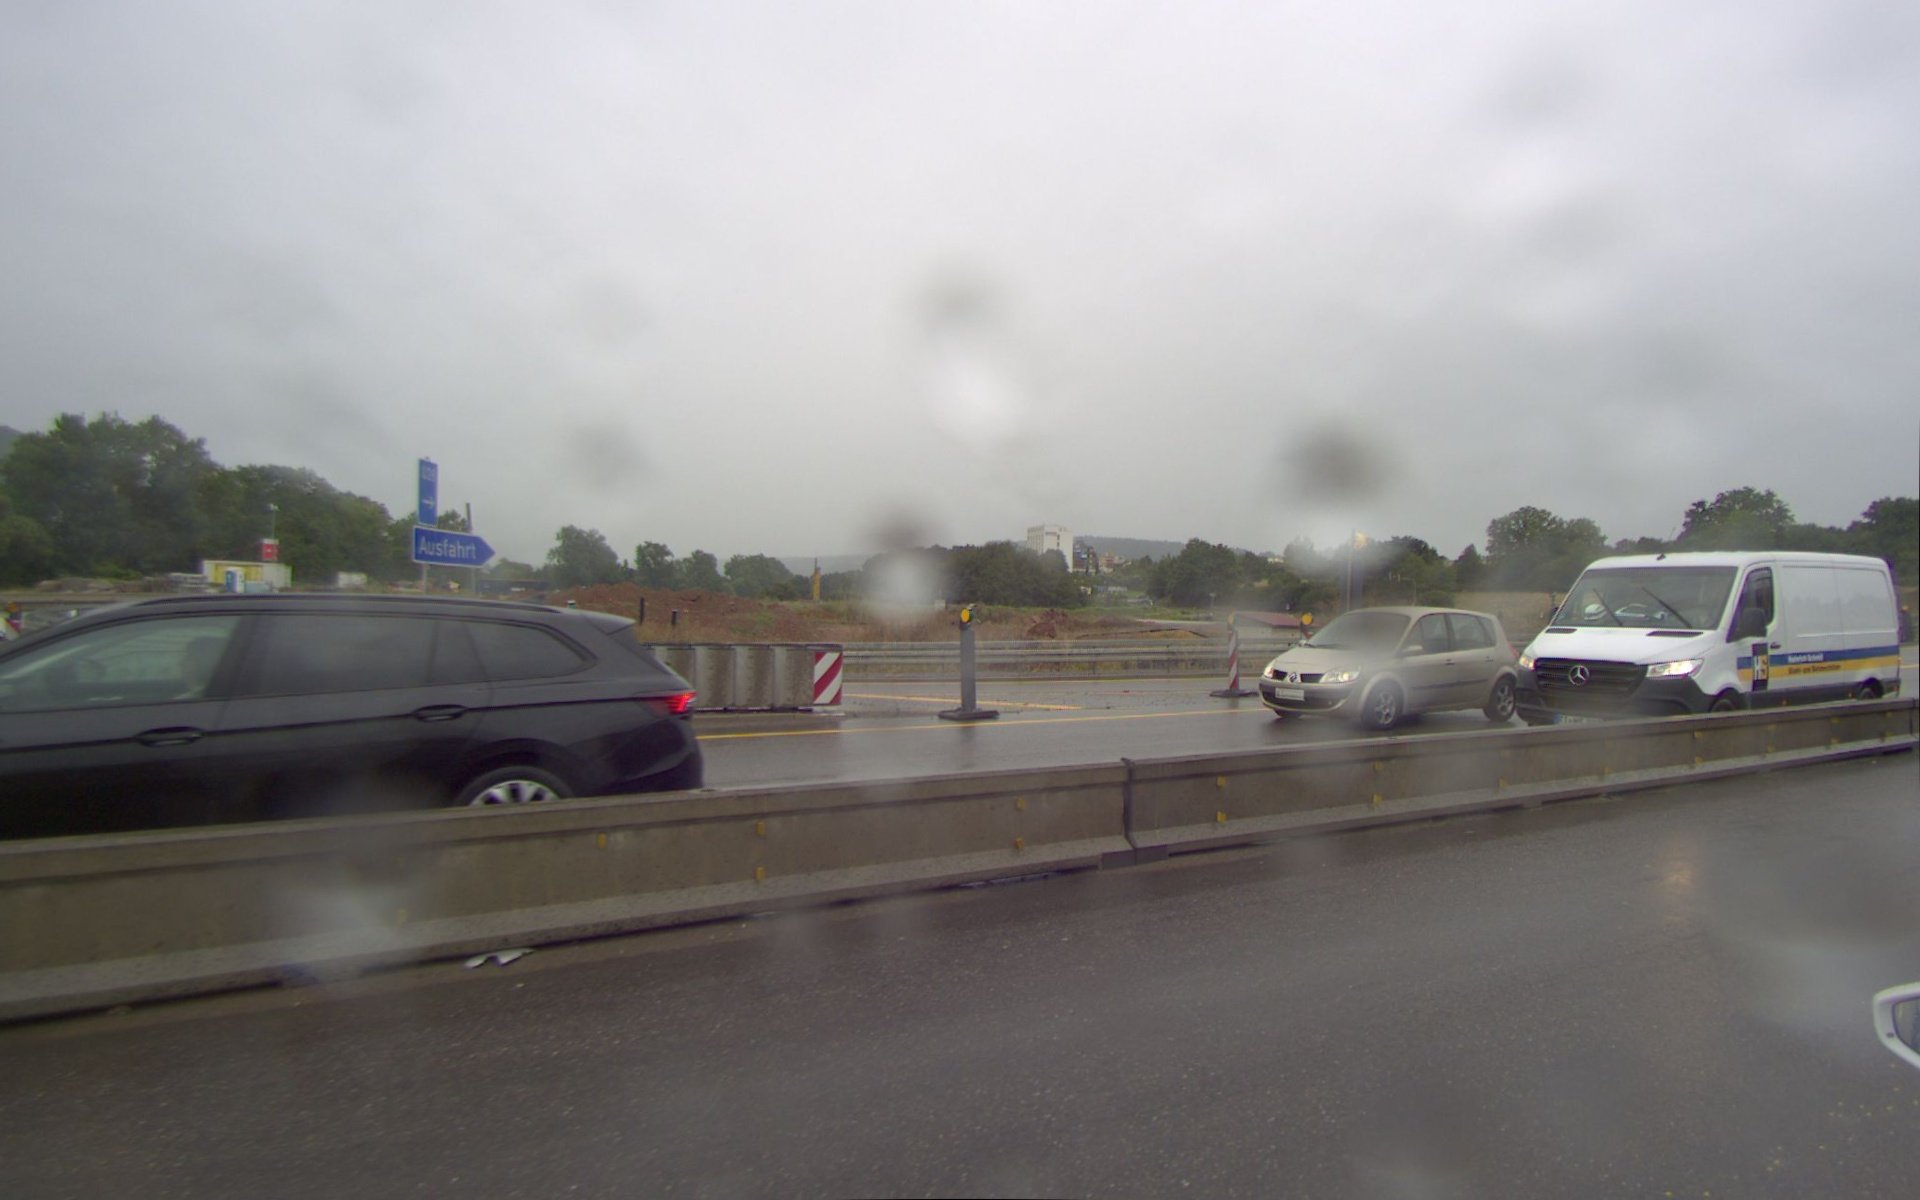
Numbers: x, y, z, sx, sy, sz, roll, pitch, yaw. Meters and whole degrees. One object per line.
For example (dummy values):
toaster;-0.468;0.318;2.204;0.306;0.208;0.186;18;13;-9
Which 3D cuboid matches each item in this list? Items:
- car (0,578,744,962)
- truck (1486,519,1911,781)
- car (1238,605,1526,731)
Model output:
car;-3.626;0.699;5.132;4.624;1.524;1.764;2;-1;-31
truck;9.258;0.604;12.411;5.893;2.610;2.068;2;-1;-31
car;6.050;0.887;14.328;3.953;1.567;1.779;1;0;-30
